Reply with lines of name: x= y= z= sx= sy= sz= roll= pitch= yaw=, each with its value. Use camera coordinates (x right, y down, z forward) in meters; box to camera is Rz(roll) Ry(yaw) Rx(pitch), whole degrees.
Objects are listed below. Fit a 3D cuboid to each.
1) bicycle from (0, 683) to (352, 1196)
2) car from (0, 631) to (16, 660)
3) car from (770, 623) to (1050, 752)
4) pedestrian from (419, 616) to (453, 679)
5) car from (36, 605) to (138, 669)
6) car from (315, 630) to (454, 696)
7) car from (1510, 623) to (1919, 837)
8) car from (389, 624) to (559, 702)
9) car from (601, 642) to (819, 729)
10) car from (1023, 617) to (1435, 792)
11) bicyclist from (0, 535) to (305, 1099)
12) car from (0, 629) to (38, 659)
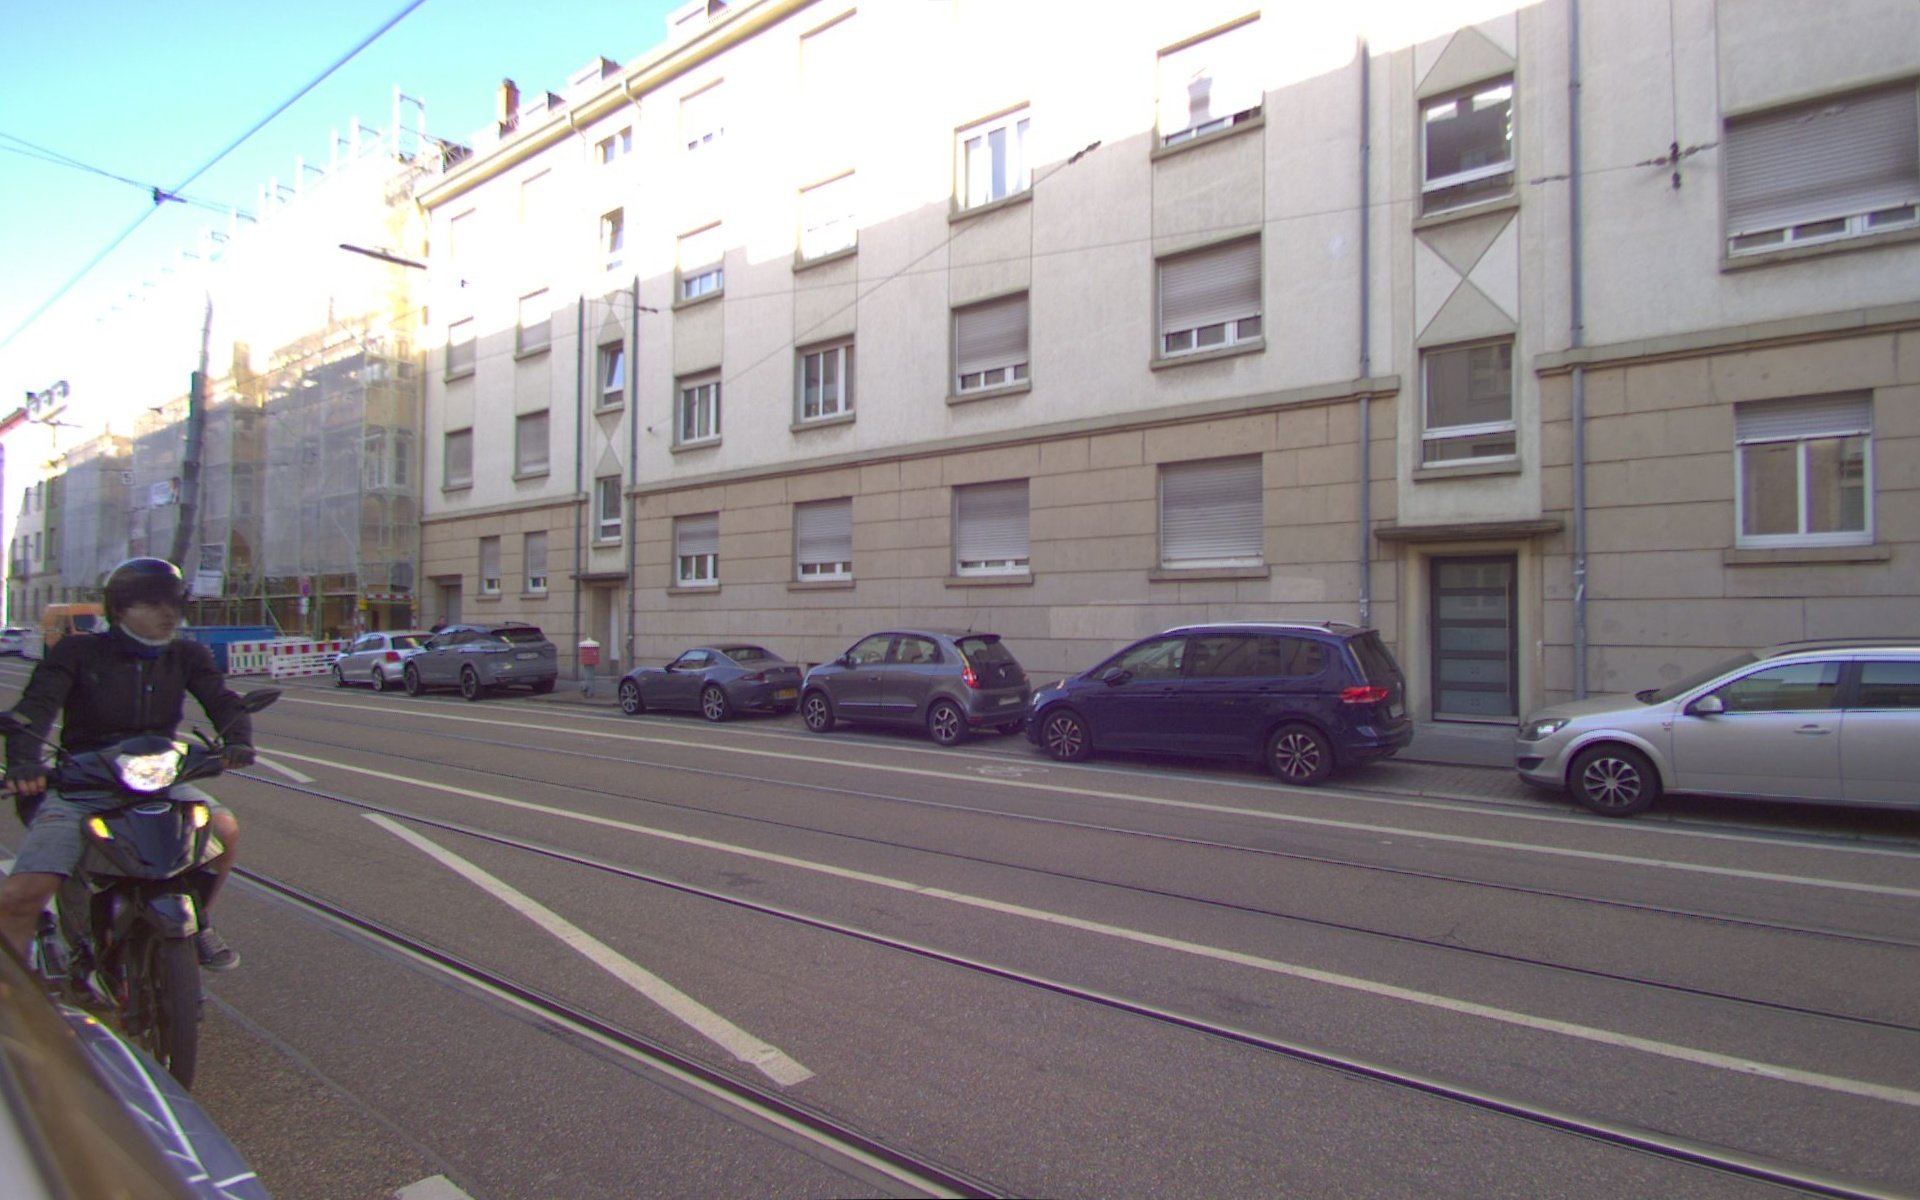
bicycle: x=-2.890 y=0.918 z=3.432 sx=1.971 sy=1.186 sz=0.731 roll=-1 pitch=-3 yaw=38
car: x=-54.841 y=2.554 z=57.033 sx=4.216 sy=1.590 sz=1.682 roll=-1 pitch=-1 yaw=37
car: x=-0.811 y=1.161 z=14.803 sx=3.995 sy=1.581 sz=1.683 roll=-1 pitch=0 yaw=39
pedestrian: x=-14.409 y=1.299 z=27.826 sx=0.716 sy=1.707 sz=0.575 roll=-2 pitch=-1 yaw=38
car: x=-36.327 y=1.562 z=42.055 sx=5.993 sy=2.488 sz=2.099 roll=-2 pitch=-3 yaw=39
car: x=-14.582 y=1.525 z=25.584 sx=3.995 sy=1.426 sz=1.683 roll=-1 pitch=1 yaw=39
car: x=7.179 y=0.984 z=8.399 sx=4.381 sy=1.521 sz=1.683 roll=-1 pitch=0 yaw=38
car: x=-10.975 y=1.354 z=22.724 sx=4.400 sy=1.580 sz=1.683 roll=-1 pitch=-3 yaw=39
car: x=-4.392 y=1.408 z=17.577 sx=3.779 sy=1.225 sz=1.684 roll=-1 pitch=0 yaw=37
car: x=2.949 y=1.021 z=11.562 sx=4.236 sy=1.627 sz=1.683 roll=-1 pitch=0 yaw=37
bicyclist: x=-2.817 y=0.621 z=3.339 sx=0.849 sy=1.566 sz=0.833 roll=-2 pitch=-3 yaw=38
car: x=-50.054 y=2.287 z=53.151 sx=3.995 sy=1.523 sz=1.729 roll=-2 pitch=-3 yaw=39
